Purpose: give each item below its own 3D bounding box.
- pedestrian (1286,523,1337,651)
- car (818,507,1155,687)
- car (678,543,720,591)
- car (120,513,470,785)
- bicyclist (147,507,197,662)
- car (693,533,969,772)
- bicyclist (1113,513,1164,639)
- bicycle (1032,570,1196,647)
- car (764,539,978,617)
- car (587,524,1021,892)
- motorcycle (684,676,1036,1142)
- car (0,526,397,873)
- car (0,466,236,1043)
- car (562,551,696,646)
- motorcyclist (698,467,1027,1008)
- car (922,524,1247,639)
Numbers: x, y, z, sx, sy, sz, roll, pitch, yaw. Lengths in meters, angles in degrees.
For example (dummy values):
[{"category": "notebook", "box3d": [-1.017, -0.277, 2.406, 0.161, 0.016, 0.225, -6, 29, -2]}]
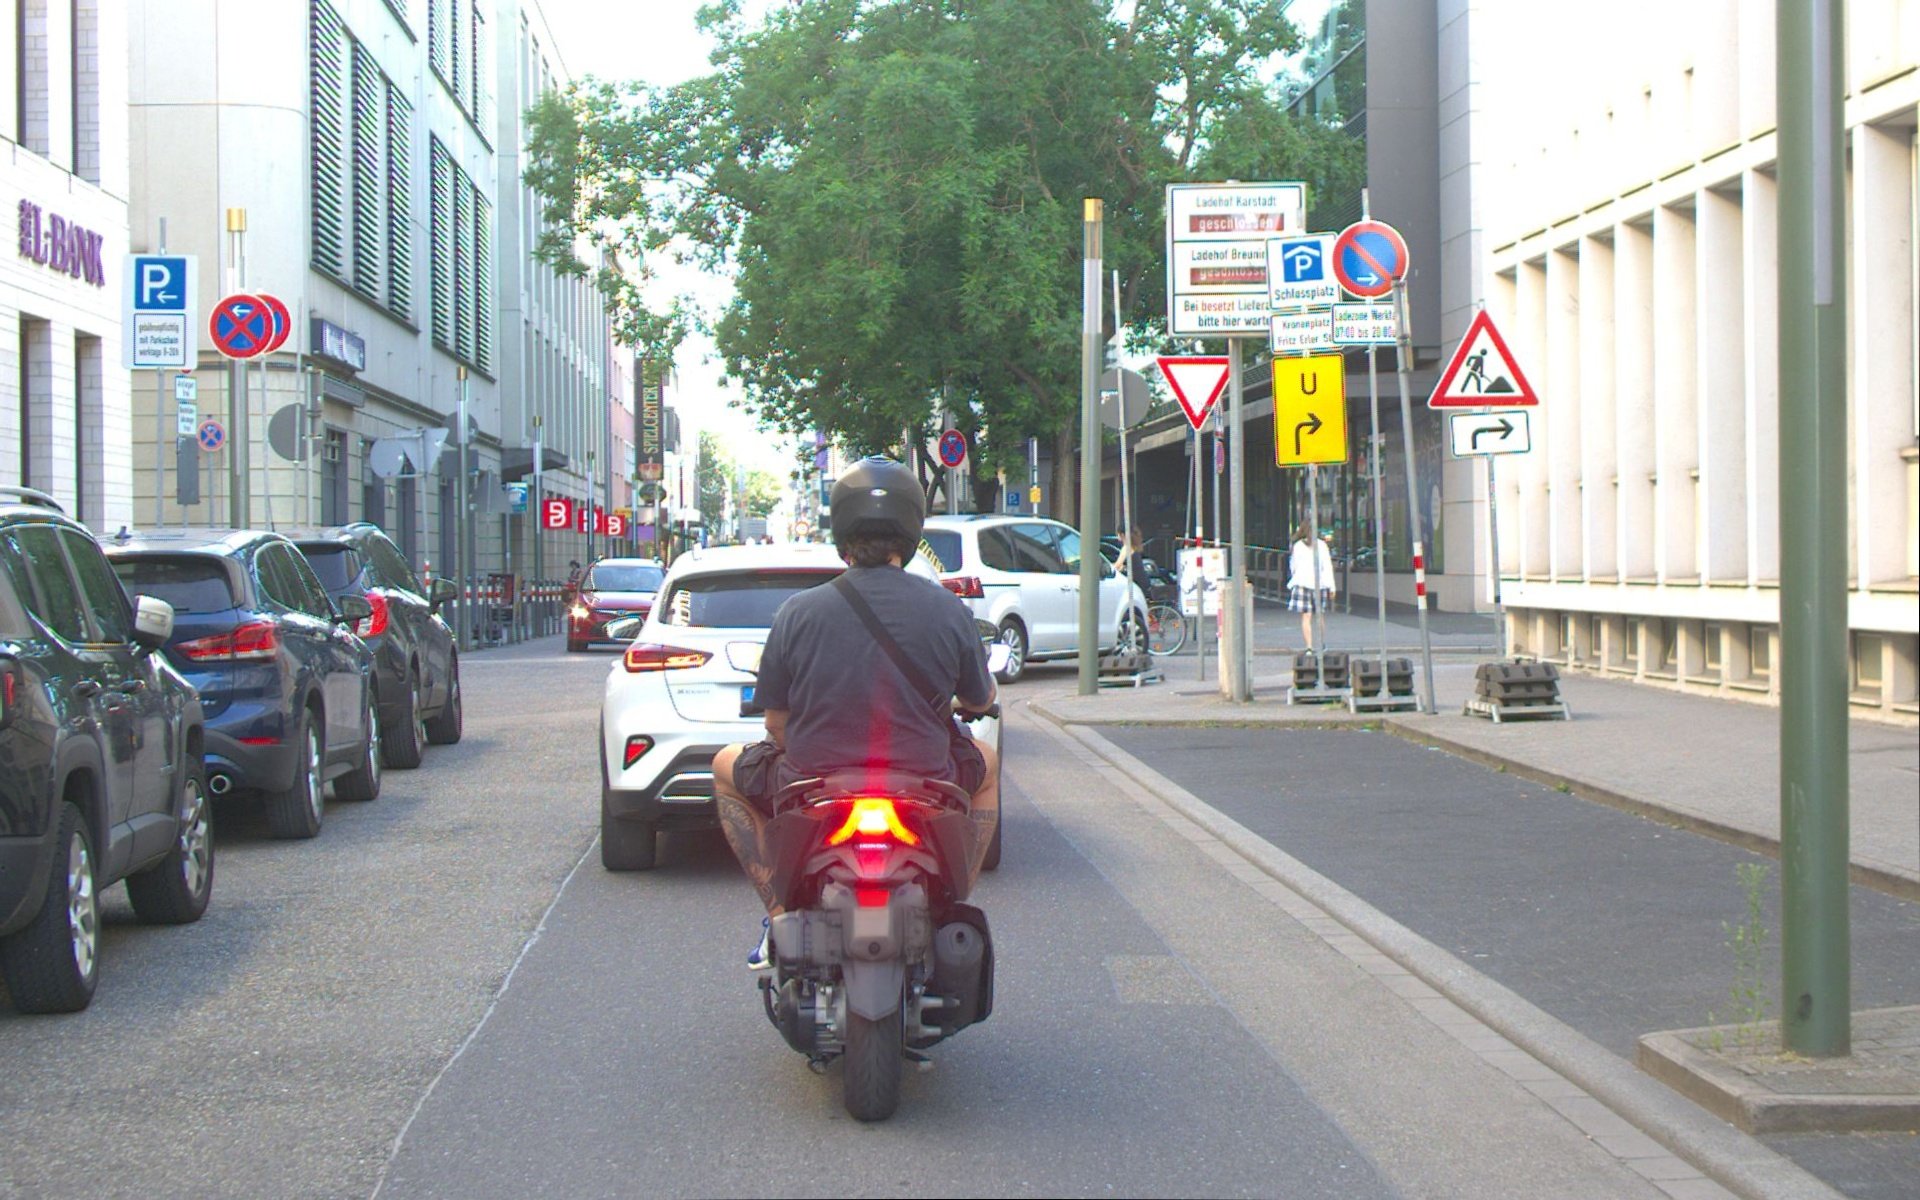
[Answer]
[{"category": "pedestrian", "box3d": [4.362, -0.165, 42.672, 0.559, 1.578, 0.598, 0, 0, -1]}, {"category": "car", "box3d": [0.359, -0.074, 36.077, 1.824, 1.640, 4.489, -2, 2, 24]}, {"category": "car", "box3d": [-12.856, -1.629, 169.127, 1.993, 2.321, 5.022, 1, 1, -5]}, {"category": "car", "box3d": [-4.592, 0.266, 24.325, 1.822, 1.672, 4.264, -3, 1, -4]}, {"category": "bicyclist", "box3d": [-8.846, -0.172, 38.588, 0.550, 1.726, 0.501, 0, 0, -14]}, {"category": "car", "box3d": [-1.025, 0.316, 25.770, 1.822, 1.536, 4.365, -3, 1, -4]}, {"category": "bicyclist", "box3d": [2.306, -0.314, 44.472, 0.630, 1.620, 0.498, 0, 0, 0]}, {"category": "bicycle", "box3d": [1.988, 0.114, 44.479, 2.102, 0.991, 0.518, 0, 0, 1]}, {"category": "car", "box3d": [-2.186, -0.538, 83.844, 5.003, 1.494, 2.000, -4, 0, -5]}, {"category": "car", "box3d": [-0.794, 0.411, 16.738, 1.822, 1.536, 4.264, -1, 1, -4]}, {"category": "motorcycle", "box3d": [-0.275, 0.785, 9.424, 0.872, 1.105, 1.840, 0, 0, -2]}, {"category": "car", "box3d": [-4.163, 0.440, 18.571, 1.739, 1.589, 4.155, -3, 1, -4]}, {"category": "car", "box3d": [-3.816, 0.455, 12.144, 1.822, 1.708, 4.018, -3, 1, -4]}, {"category": "car", "box3d": [-5.373, 0.010, 56.290, 1.822, 1.460, 4.263, -1, -1, -1]}, {"category": "motorcyclist", "box3d": [-0.264, 0.361, 9.281, 0.867, 1.422, 0.455, 0, 0, -2]}, {"category": "car", "box3d": [1.991, -0.302, 56.121, 5.003, 1.447, 2.000, -4, 0, -5]}]
